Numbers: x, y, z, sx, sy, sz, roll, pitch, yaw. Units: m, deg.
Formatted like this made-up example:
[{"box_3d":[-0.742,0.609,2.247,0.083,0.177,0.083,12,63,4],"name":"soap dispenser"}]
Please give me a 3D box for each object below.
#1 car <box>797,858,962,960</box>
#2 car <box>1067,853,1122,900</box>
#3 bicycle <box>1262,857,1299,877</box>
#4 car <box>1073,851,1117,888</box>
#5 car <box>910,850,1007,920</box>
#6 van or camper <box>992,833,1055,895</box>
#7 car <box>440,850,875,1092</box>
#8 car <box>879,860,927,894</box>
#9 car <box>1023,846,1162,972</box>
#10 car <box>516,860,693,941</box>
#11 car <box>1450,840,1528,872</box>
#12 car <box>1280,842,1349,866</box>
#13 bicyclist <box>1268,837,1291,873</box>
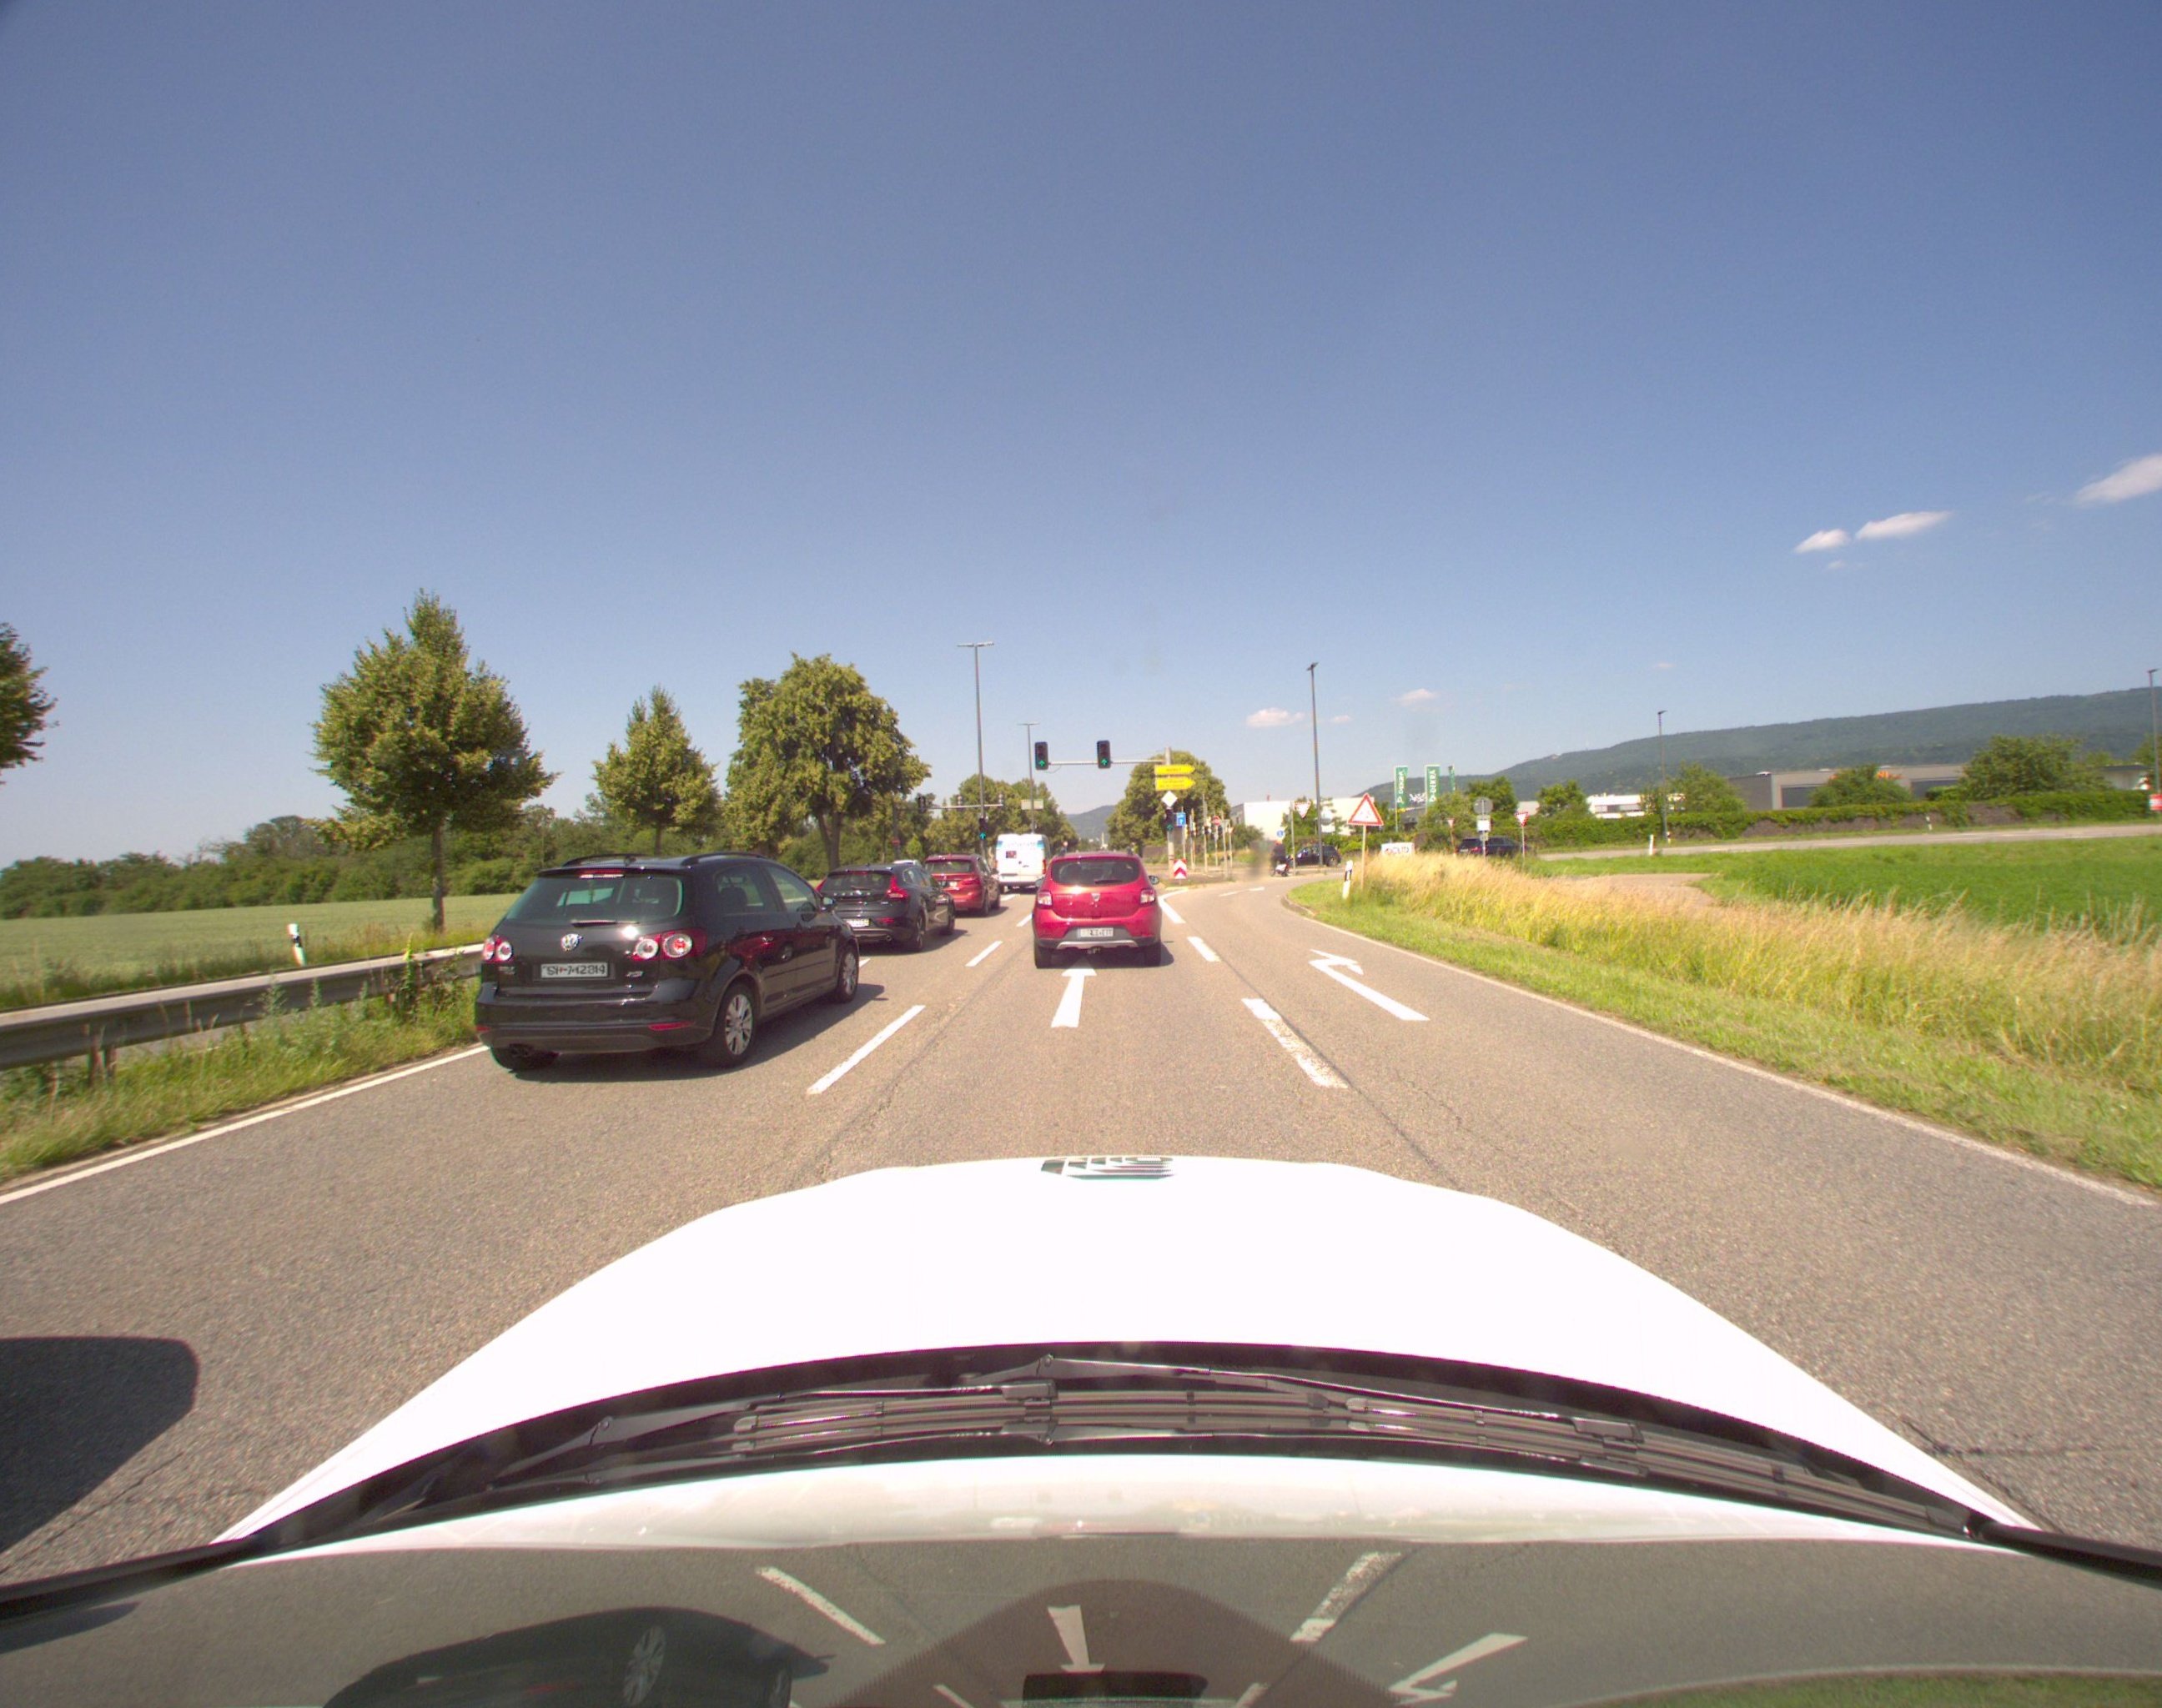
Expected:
[{"box_3d":[-3.297,0.831,14.140,1.695,1.442,3.958,-1,1,2],"name":"car"},{"box_3d":[0.532,0.721,28.319,1.742,1.458,3.680,-2,0,3],"name":"car"},{"box_3d":[9.980,0.647,40.912,0.761,0.915,2.771,-3,0,-9],"name":"bicycle"},{"box_3d":[0.663,0.642,35.404,1.742,1.458,3.680,-2,0,3],"name":"car"},{"box_3d":[-3.088,0.733,21.267,1.717,1.600,3.958,-1,0,2],"name":"car"},{"box_3d":[-2.216,0.374,32.782,2.172,2.303,4.825,-1,0,-1],"name":"van or camper"},{"box_3d":[-3.293,0.767,7.319,1.716,1.575,3.895,-1,0,2],"name":"car"},{"box_3d":[-9.495,1.179,43.752,1.741,1.638,4.131,-3,0,-3],"name":"car"},{"box_3d":[0.259,0.698,12.228,1.742,1.575,3.680,-1,0,3],"name":"car"},{"box_3d":[-13.362,1.199,23.294,1.987,1.931,5.016,-3,0,0],"name":"car"},{"box_3d":[22.006,0.097,43.896,4.359,1.616,1.978,-1,0,-37],"name":"car"},{"box_3d":[14.691,0.007,51.372,3.964,1.327,1.811,-3,0,8],"name":"car"},{"box_3d":[9.947,0.050,40.887,0.802,1.771,0.806,-3,0,-10],"name":"bicyclist"}]
